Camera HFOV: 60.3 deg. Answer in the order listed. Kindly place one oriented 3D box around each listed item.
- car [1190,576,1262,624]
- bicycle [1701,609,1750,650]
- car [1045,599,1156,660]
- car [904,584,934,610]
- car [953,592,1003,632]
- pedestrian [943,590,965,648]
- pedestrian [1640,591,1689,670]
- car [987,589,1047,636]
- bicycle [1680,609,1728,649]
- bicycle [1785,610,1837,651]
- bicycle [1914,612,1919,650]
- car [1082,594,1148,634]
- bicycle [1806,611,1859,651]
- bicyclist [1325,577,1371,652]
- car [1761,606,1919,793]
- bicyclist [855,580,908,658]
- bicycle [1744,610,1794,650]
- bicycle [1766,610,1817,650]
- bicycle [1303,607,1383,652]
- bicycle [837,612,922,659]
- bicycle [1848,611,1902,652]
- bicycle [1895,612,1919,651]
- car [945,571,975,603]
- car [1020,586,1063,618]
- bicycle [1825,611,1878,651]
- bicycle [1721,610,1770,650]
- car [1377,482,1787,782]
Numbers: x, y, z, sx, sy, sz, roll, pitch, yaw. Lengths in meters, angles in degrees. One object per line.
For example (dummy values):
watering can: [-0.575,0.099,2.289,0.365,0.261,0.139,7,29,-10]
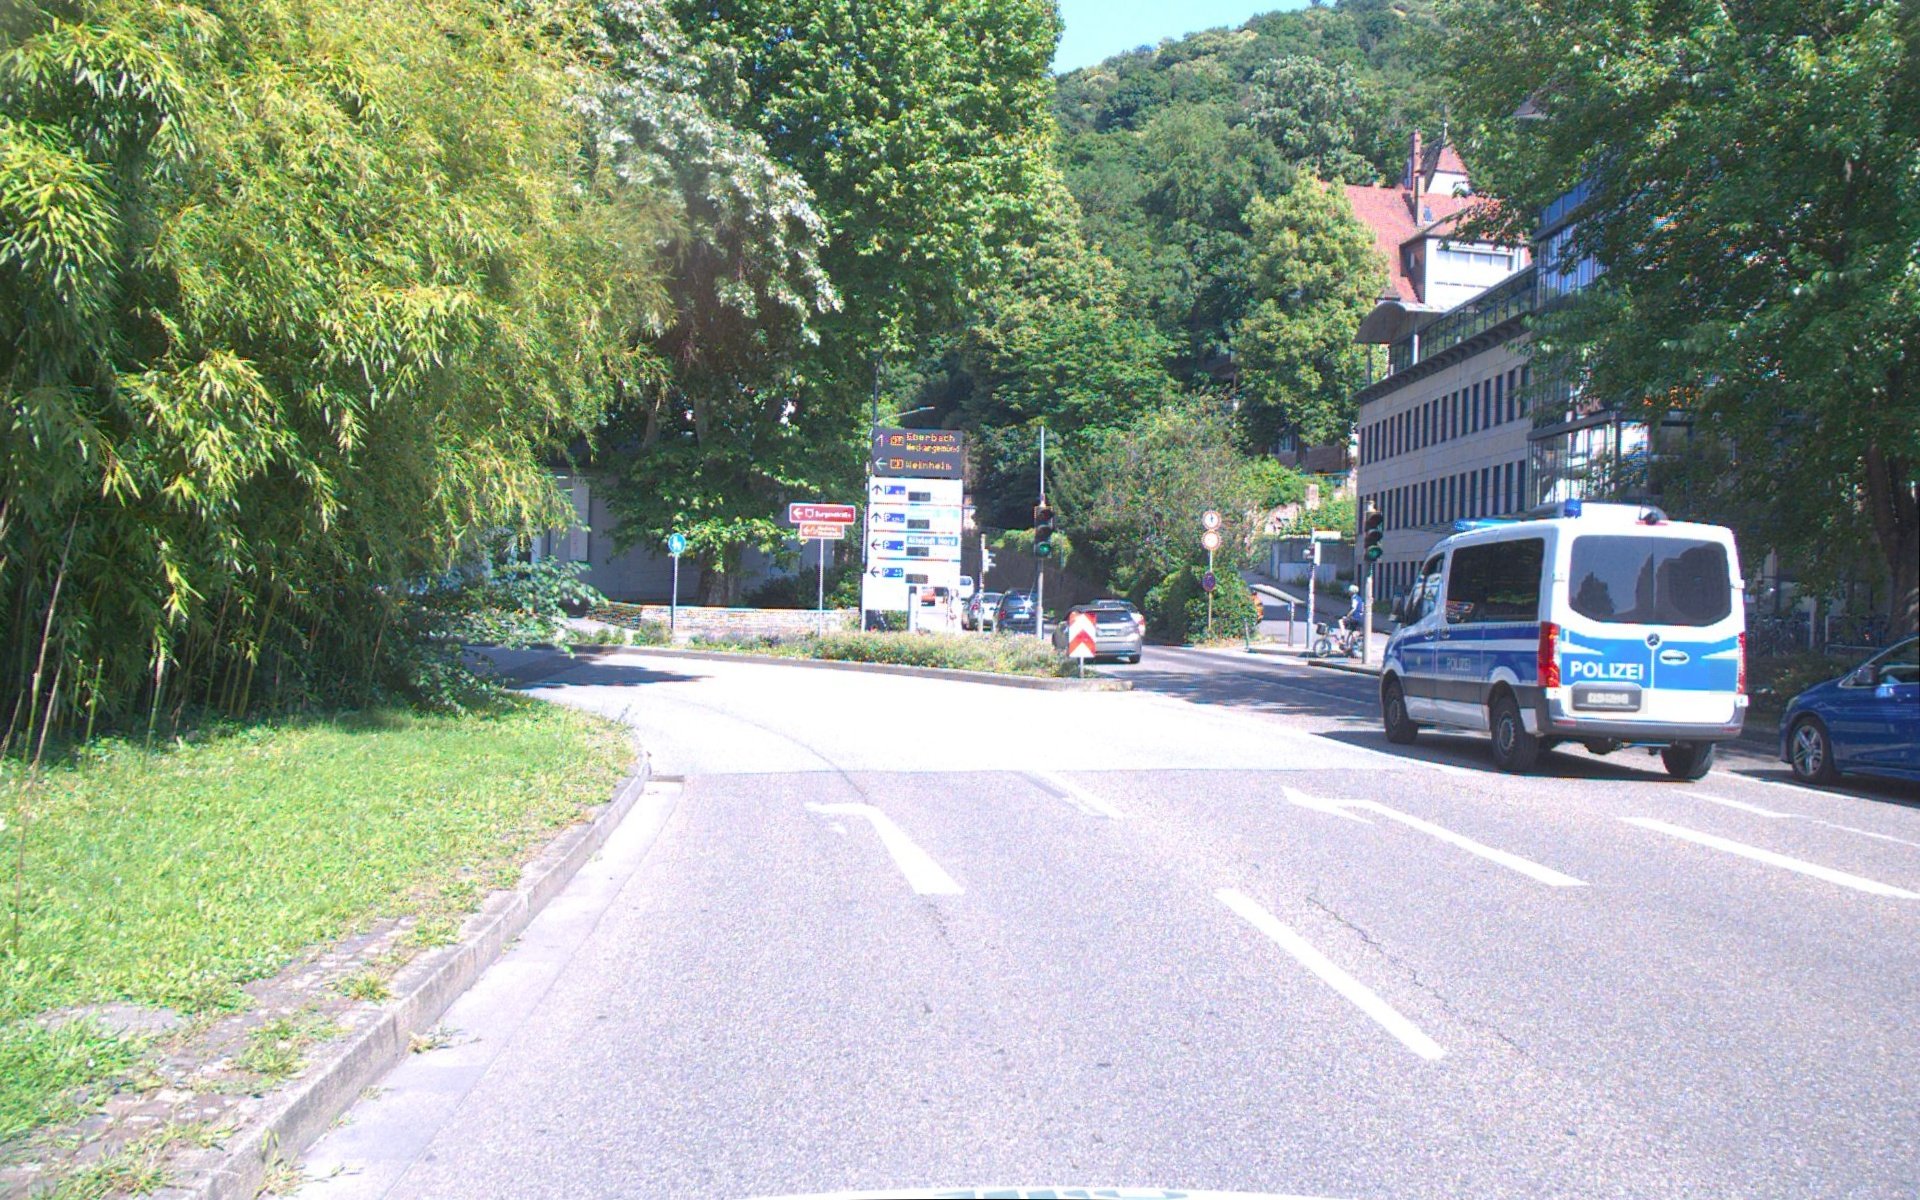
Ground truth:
car: [9.933,0.009,62.130,1.892,1.726,3.998,1,0,-3]
bicycle: [22.025,0.837,47.600,0.526,1.104,1.835,1,0,0]
car: [3.472,0.711,41.563,1.725,1.357,3.790,2,0,-12]
car: [-2.492,-0.218,99.636,1.721,1.486,3.492,2,0,-3]
car: [0.687,0.448,65.699,1.721,1.486,3.644,2,0,-3]
pedestrian: [-0.171,0.550,48.128,0.535,1.649,0.635,1,0,7]
pedestrian: [17.116,0.739,40.196,0.755,1.886,0.829,2,0,-2]
car: [1.888,0.389,56.001,1.721,1.486,3.492,2,0,-3]
bicycle: [21.394,0.829,47.600,0.526,1.104,1.835,1,0,0]
bicycle: [24.467,0.868,47.566,0.526,1.104,1.835,1,0,0]
bicycle: [28.130,0.915,47.397,0.526,1.104,1.835,1,0,0]
car: [5.164,0.447,55.618,1.721,1.234,3.492,2,0,-3]
bicycle: [25.101,0.876,47.594,0.526,1.104,1.835,1,0,0]
bicyclist: [10.380,0.377,44.267,1.102,1.966,0.749,1,0,10]
car: [9.093,0.910,14.550,1.686,1.568,4.267,2,1,-5]
bicyclist: [-2.016,0.482,42.315,1.103,1.966,0.748,1,0,23]
bicycle: [23.217,0.852,47.515,0.526,1.104,1.835,1,0,0]
bicycle: [23.881,0.860,47.536,0.526,1.104,1.835,1,0,0]
bicycle: [10.241,0.784,44.291,2.032,1.132,0.757,1,0,10]
bicycle: [-2.052,0.902,42.320,2.034,1.132,0.757,1,0,23]
bicycle: [26.244,0.891,47.470,0.526,1.104,1.835,1,0,0]
bicycle: [27.539,0.907,47.314,0.526,1.104,1.835,1,0,0]
car: [-0.017,-0.823,105.801,1.721,1.972,3.492,2,0,-3]
car: [3.894,0.071,79.624,1.721,1.486,3.644,2,0,-3]
bicycle: [25.669,0.884,47.651,0.526,1.104,1.835,1,0,0]
bicycle: [22.608,0.844,47.615,0.526,1.104,1.835,1,0,0]
car: [6.054,0.283,16.879,2.032,2.552,4.925,2,0,-4]
